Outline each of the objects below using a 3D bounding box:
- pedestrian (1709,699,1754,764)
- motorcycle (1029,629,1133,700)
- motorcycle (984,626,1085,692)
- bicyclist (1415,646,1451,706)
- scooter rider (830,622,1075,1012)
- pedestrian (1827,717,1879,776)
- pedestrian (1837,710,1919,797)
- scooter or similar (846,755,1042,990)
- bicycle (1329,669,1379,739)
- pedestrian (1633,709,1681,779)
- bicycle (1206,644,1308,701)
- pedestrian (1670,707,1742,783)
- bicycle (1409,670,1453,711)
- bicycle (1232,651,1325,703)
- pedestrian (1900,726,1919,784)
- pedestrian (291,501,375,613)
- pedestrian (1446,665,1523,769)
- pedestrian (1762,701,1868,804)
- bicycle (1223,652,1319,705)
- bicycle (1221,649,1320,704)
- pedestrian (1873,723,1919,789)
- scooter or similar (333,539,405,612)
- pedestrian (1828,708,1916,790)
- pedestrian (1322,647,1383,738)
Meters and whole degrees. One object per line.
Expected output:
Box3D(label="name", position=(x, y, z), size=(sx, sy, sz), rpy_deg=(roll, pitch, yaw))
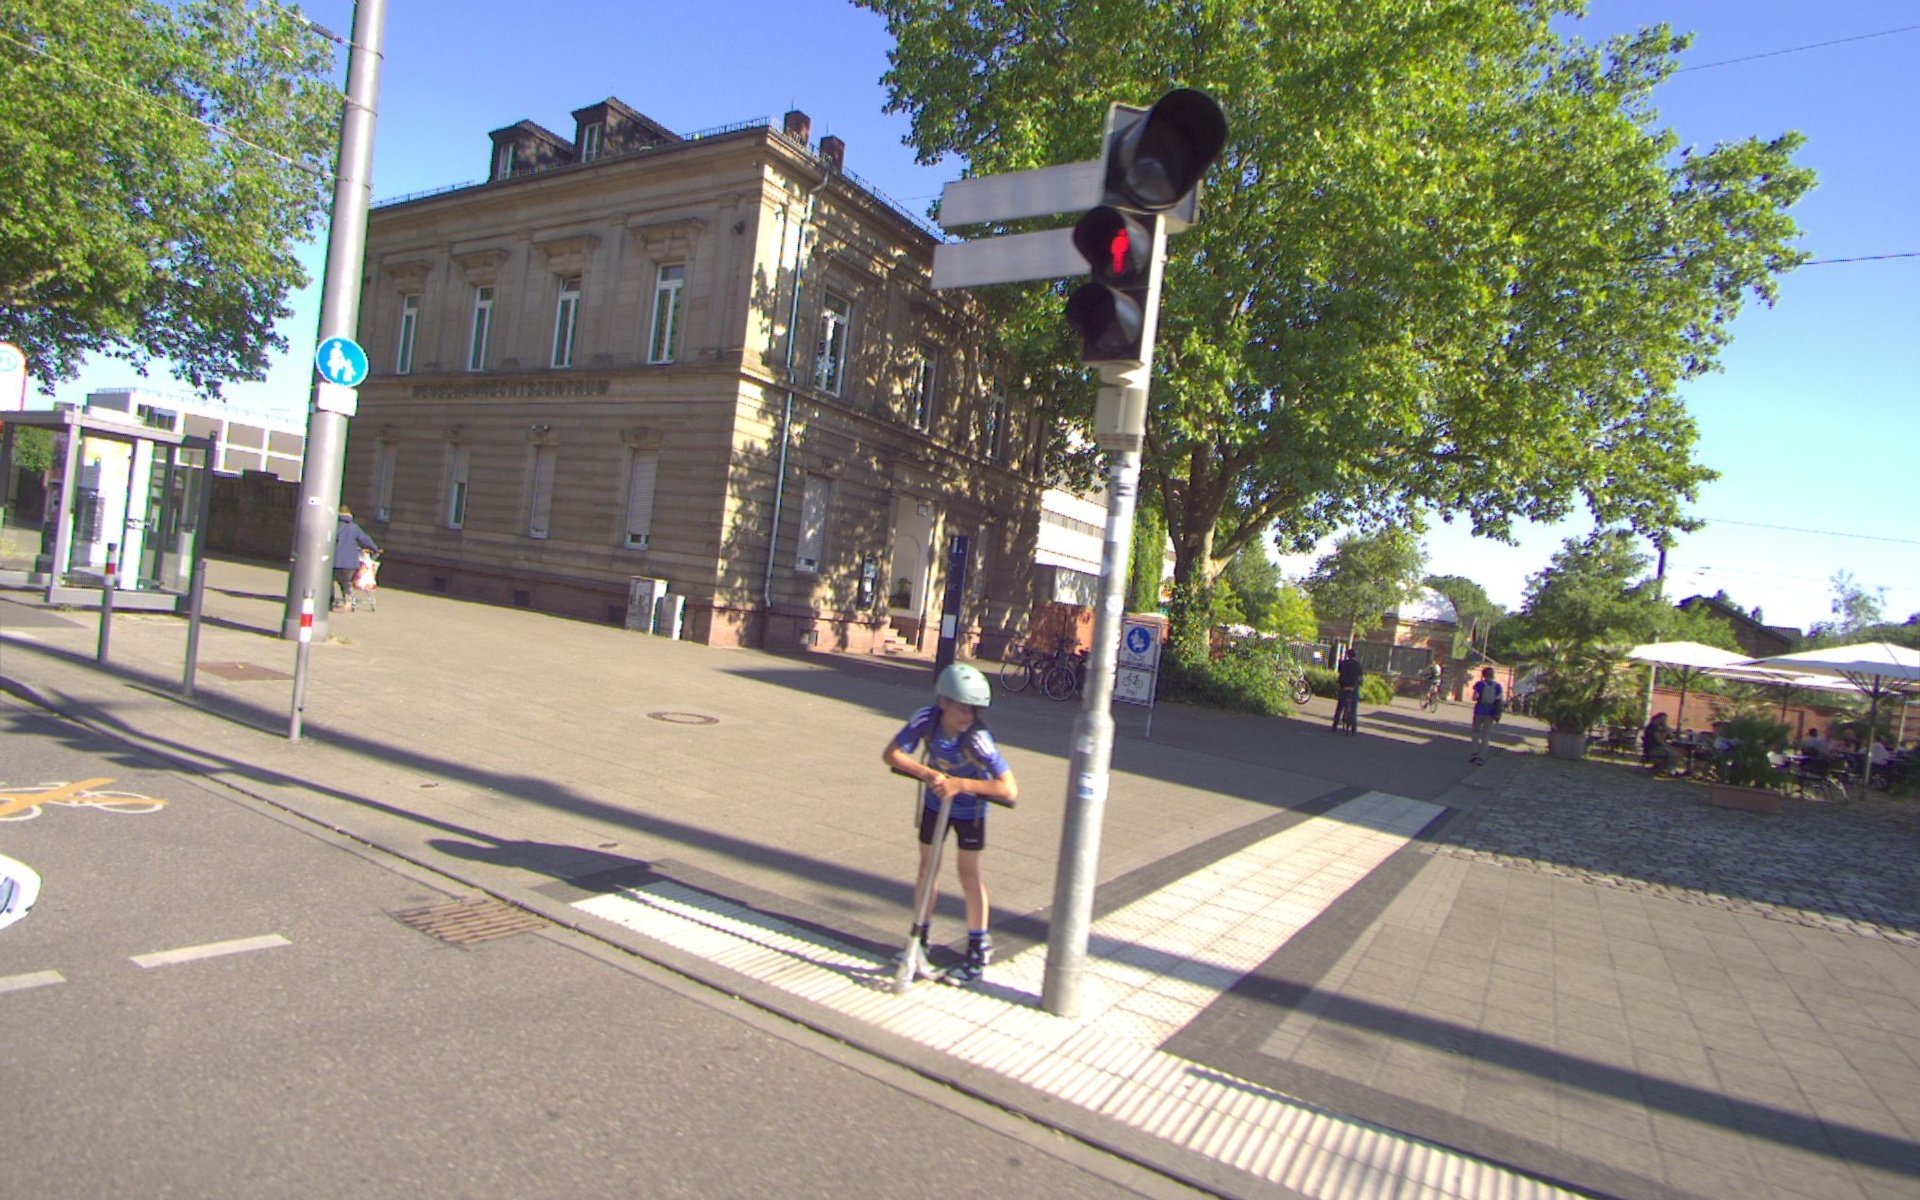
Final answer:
Box3D(label="pedestrian", position=(19.602, 3.333, 25.582), size=(0.653, 1.485, 0.837), rpy_deg=(7, 2, 30))
Box3D(label="motorcycle", position=(2.401, 1.290, 19.716), size=(0.874, 1.173, 2.218), rpy_deg=(7, -1, 39))
Box3D(label="motorcycle", position=(1.509, 1.189, 19.999), size=(0.874, 1.116, 2.076), rpy_deg=(7, -1, 39))
Box3D(label="bicyclist", position=(16.924, 2.700, 35.994), size=(0.766, 2.038, 0.991), rpy_deg=(7, 0, 14))
Box3D(label="scooter rider", position=(-0.017, 0.848, 4.237), size=(0.590, 1.414, 0.702), rpy_deg=(7, 1, 32))
Box3D(label="pedestrian", position=(25.454, 4.168, 28.675), size=(0.825, 1.485, 0.663), rpy_deg=(7, 2, 29))
Box3D(label="pedestrian", position=(21.547, 3.562, 23.495), size=(1.019, 1.767, 0.997), rpy_deg=(6, 2, -5))
Box3D(label="scooter or similar", position=(-0.036, 1.143, 4.430), size=(0.260, 0.821, 1.022), rpy_deg=(7, 0, 32))
Box3D(label="bicycle", position=(8.415, 2.187, 21.593), size=(0.767, 1.293, 2.670), rpy_deg=(7, -1, 20))
Box3D(label="pedestrian", position=(14.976, 3.084, 21.614), size=(0.645, 1.393, 0.671), rpy_deg=(8, 1, 41))
Box3D(label="bicycle", position=(8.608, 2.085, 29.203), size=(2.623, 1.294, 0.781), rpy_deg=(7, 0, 28))
Box3D(label="pedestrian", position=(15.638, 3.021, 21.092), size=(0.769, 1.398, 0.986), rpy_deg=(4, 3, -45))
Box3D(label="bicycle", position=(16.934, 3.235, 36.215), size=(0.767, 1.293, 2.671), rpy_deg=(7, -1, 13))
Box3D(label="bicycle", position=(10.150, 2.446, 32.129), size=(2.623, 1.294, 0.781), rpy_deg=(7, 0, 28))
Box3D(label="pedestrian", position=(26.099, 4.212, 27.136), size=(0.652, 1.485, 0.839), rpy_deg=(7, 2, 19))
Box3D(label="pedestrian", position=(-10.576, -0.711, 16.979), size=(0.781, 1.767, 0.771), rpy_deg=(7, 2, 17))
Box3D(label="pedestrian", position=(10.160, 2.242, 19.538), size=(1.018, 1.812, 0.998), rpy_deg=(7, 2, 21))
Box3D(label="pedestrian", position=(16.566, 2.930, 19.519), size=(0.981, 1.766, 1.036), rpy_deg=(6, 1, -6))
Box3D(label="bicycle", position=(9.686, 2.433, 31.363), size=(2.623, 1.294, 0.781), rpy_deg=(7, 0, 28))
Box3D(label="bicycle", position=(9.278, 2.281, 30.081), size=(2.623, 1.294, 0.781), rpy_deg=(7, 0, 28))
Box3D(label="pedestrian", position=(23.761, 3.924, 25.428), size=(0.828, 1.485, 0.661), rpy_deg=(8, 3, 42))
Box3D(label="scooter or similar", position=(-10.352, -0.431, 17.636), size=(0.746, 1.171, 0.719), rpy_deg=(7, 2, 26))
Box3D(label="pedestrian", position=(22.251, 3.624, 24.576), size=(1.019, 1.767, 0.997), rpy_deg=(6, 2, -5))
Box3D(label="pedestrian", position=(8.463, 1.962, 21.707), size=(1.018, 1.767, 0.998), rpy_deg=(7, 2, 21))
